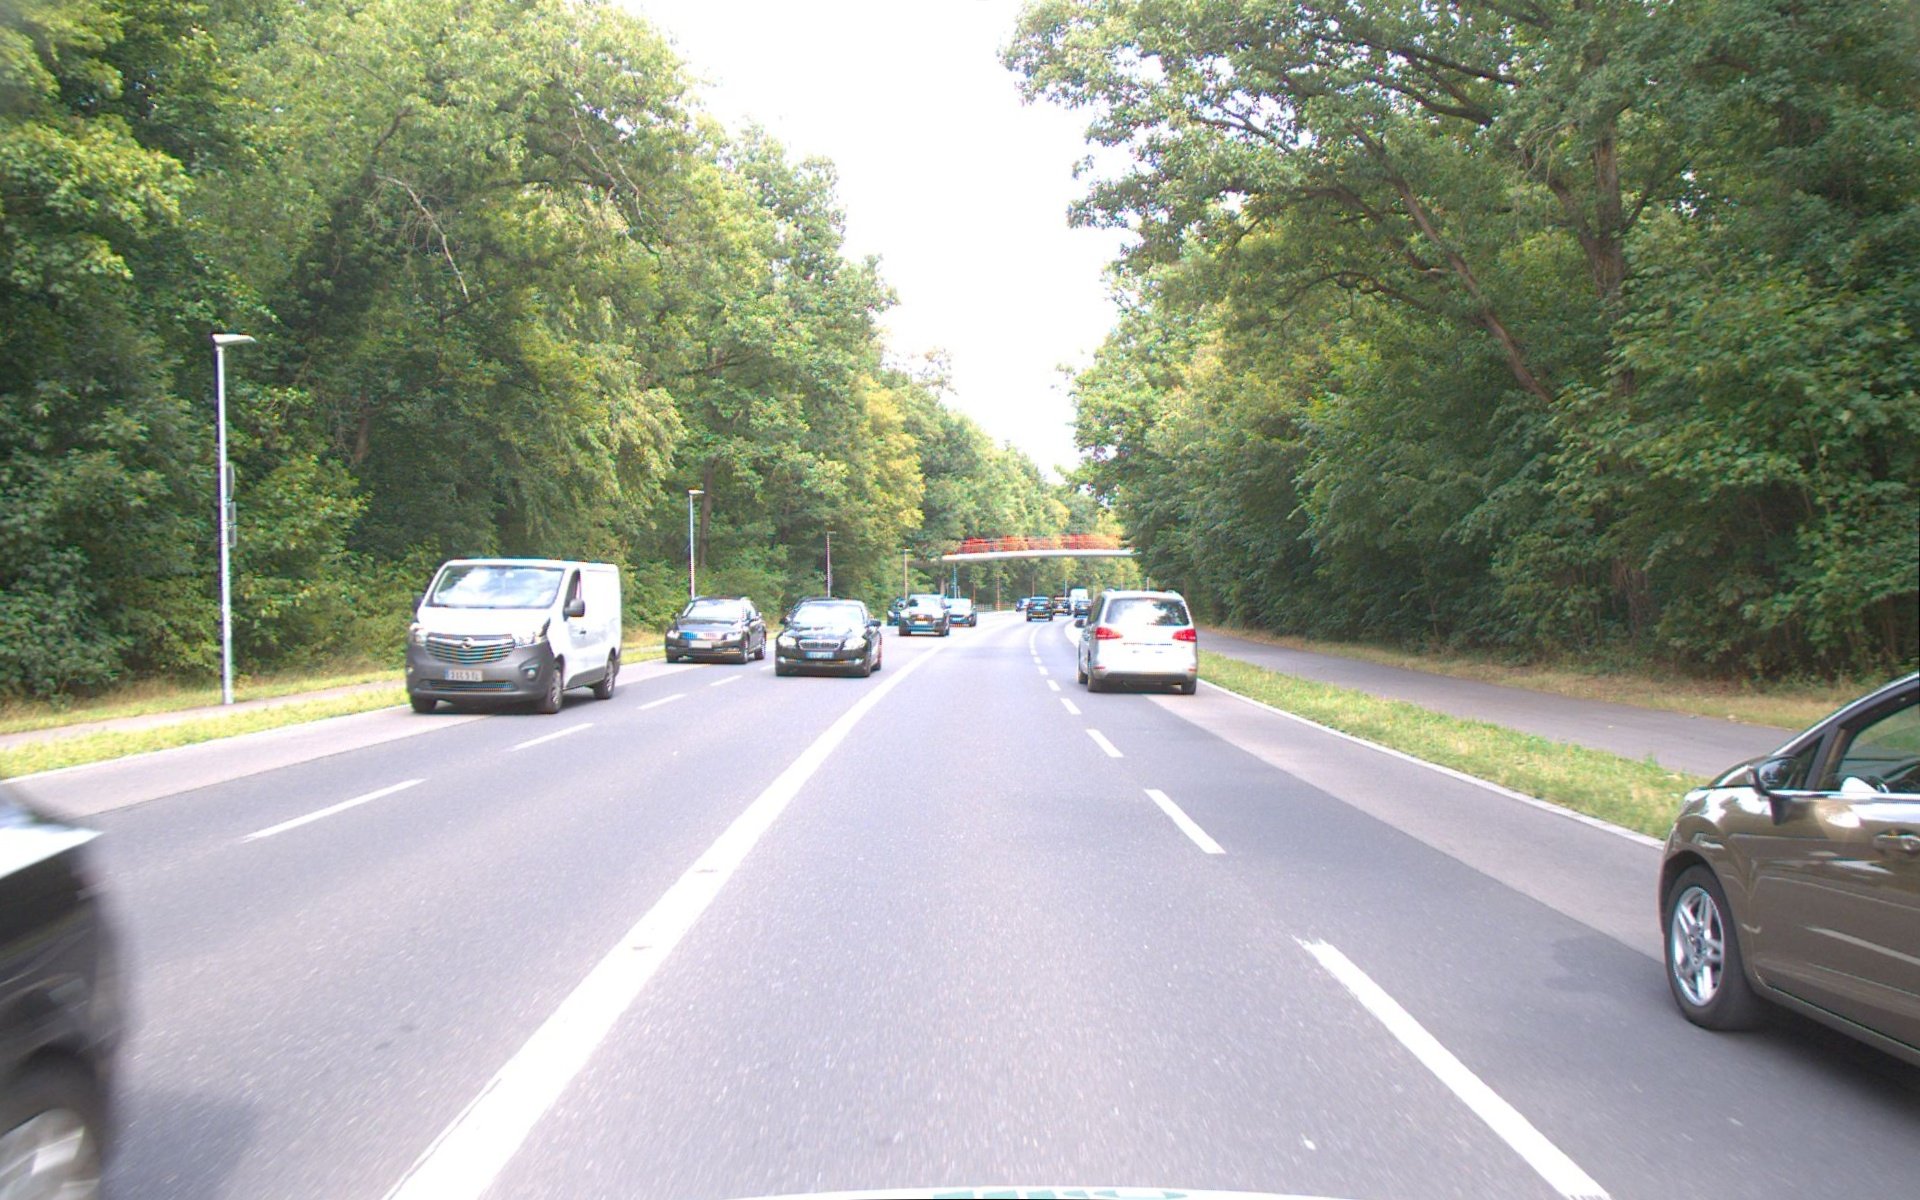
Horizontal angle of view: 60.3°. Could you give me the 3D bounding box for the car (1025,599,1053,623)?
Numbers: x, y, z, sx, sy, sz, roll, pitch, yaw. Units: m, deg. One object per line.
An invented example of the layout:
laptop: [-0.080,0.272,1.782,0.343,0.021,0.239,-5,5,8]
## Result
car: [5.490,0.787,114.984,1.693,1.615,4.002,2,-1,6]

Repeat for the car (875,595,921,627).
car: [-3.331,0.615,89.296,1.951,1.579,4.002,2,-1,5]

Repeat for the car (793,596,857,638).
car: [-4.763,0.578,58.981,1.777,1.445,4.519,1,0,1]

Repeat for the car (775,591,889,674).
car: [-2.484,0.603,33.089,1.847,1.504,4.519,2,0,0]

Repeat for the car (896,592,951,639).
car: [-1.427,0.625,65.968,1.922,1.735,4.000,-3,-1,1]

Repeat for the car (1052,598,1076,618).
car: [9.771,0.752,155.019,1.951,1.727,4.003,2,-1,7]

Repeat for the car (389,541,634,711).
car: [-5.940,0.352,22.577,1.953,2.049,5.053,0,-1,0]

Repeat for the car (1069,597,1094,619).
car: [10.347,0.666,140.500,1.951,1.780,4.002,2,-1,6]

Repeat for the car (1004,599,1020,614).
car: [5.680,0.715,181.444,1.704,1.624,4.001,2,-1,2]

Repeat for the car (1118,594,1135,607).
car: [23.211,0.056,230.335,1.951,1.735,4.003,-2,0,9]

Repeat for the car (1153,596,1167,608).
car: [31.509,0.345,261.065,1.765,1.697,4.003,2,-1,12]

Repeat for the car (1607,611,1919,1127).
car: [3.504,0.781,4.837,1.602,1.445,3.999,2,-1,-1]

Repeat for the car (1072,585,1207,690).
car: [3.041,0.636,28.839,1.952,1.635,4.000,2,-1,1]

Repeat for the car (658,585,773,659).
car: [-5.566,0.511,38.165,1.846,1.585,4.519,1,-1,1]

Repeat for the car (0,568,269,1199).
car: [-2.372,0.665,1.803,1.623,1.512,3.865,2,-1,-1]

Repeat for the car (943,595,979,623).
car: [0.068,0.491,89.166,1.662,1.410,3.828,-3,-1,4]
